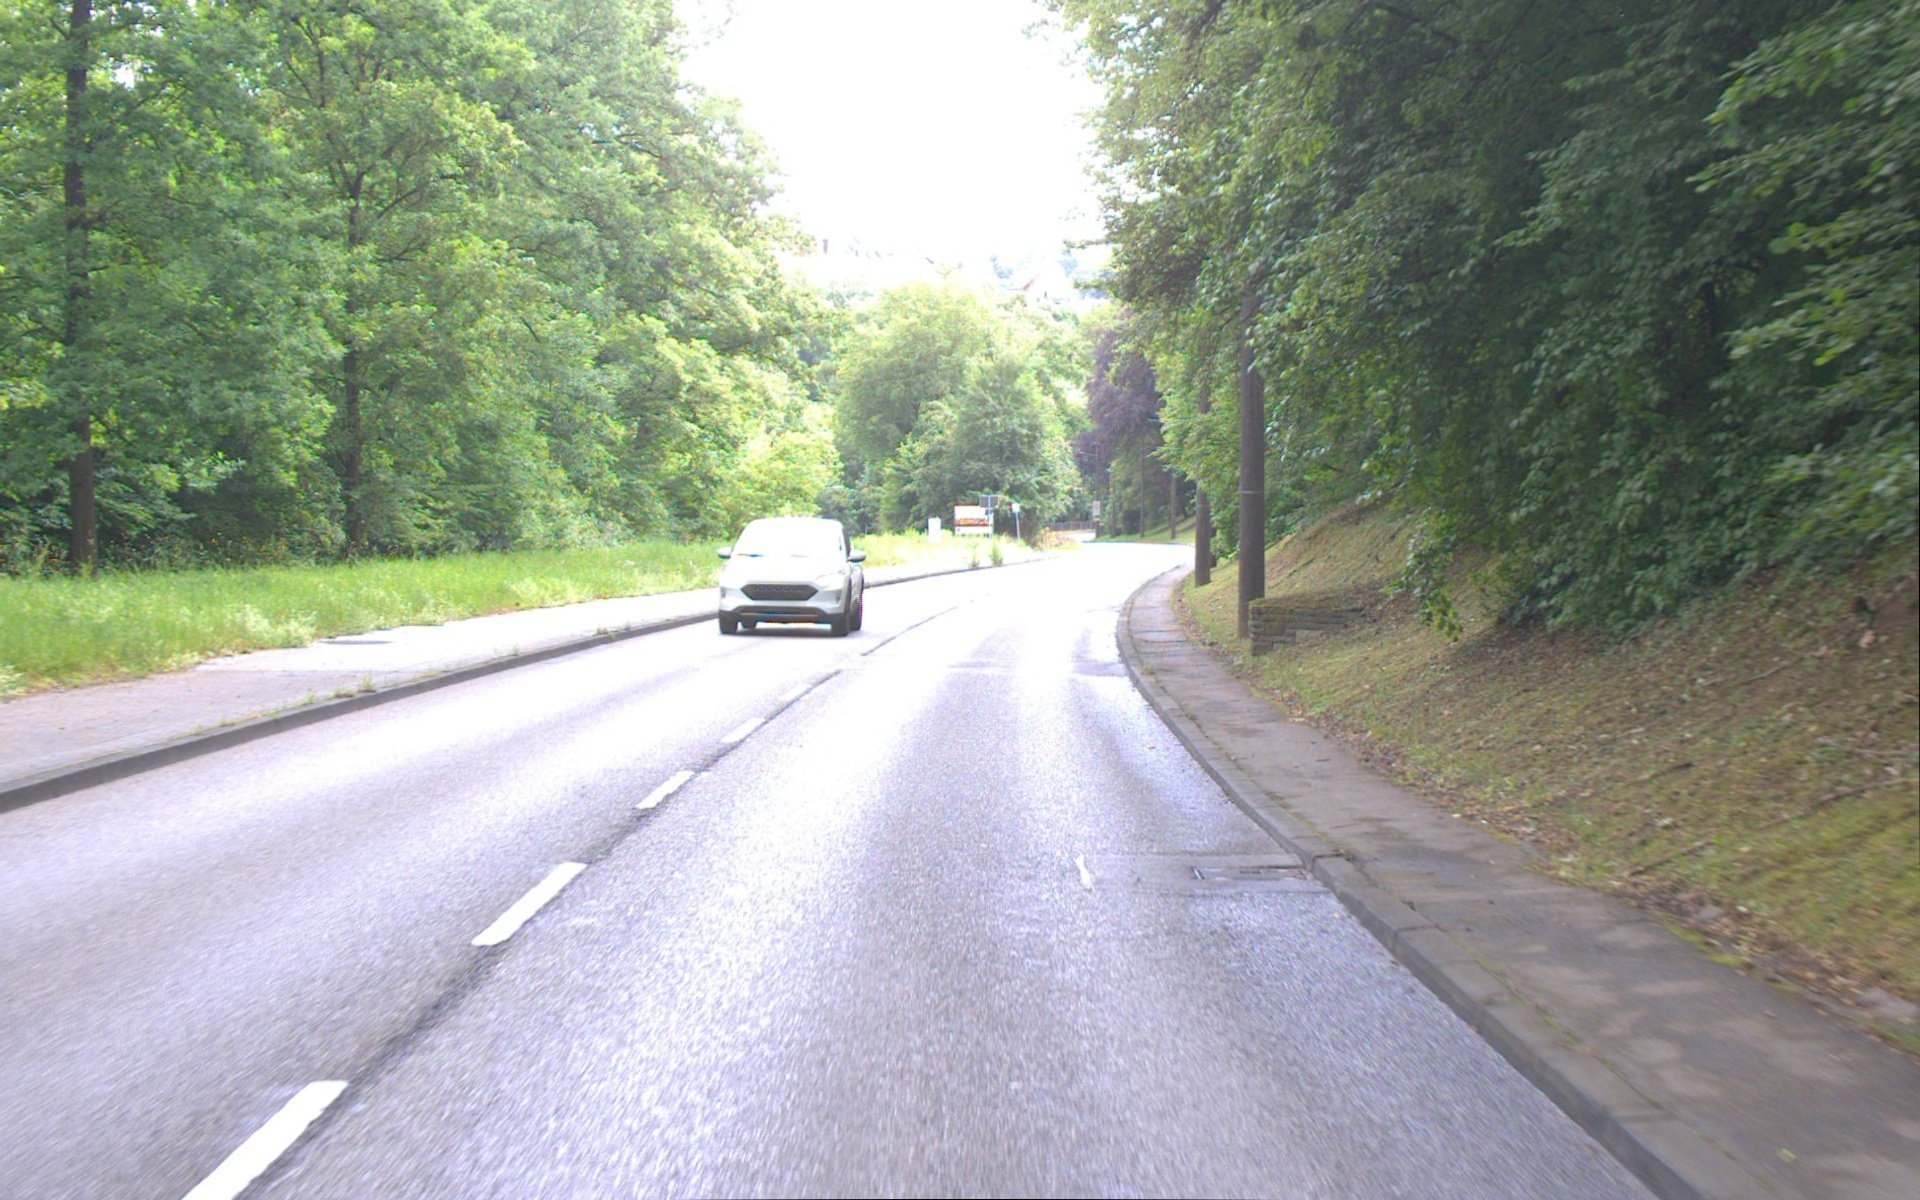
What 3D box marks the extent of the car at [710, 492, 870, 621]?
[{"bbox_3d":[-2.422,-0.620,50.106,1.993,1.747,4.782,1,0,1],"label":"car"}]
